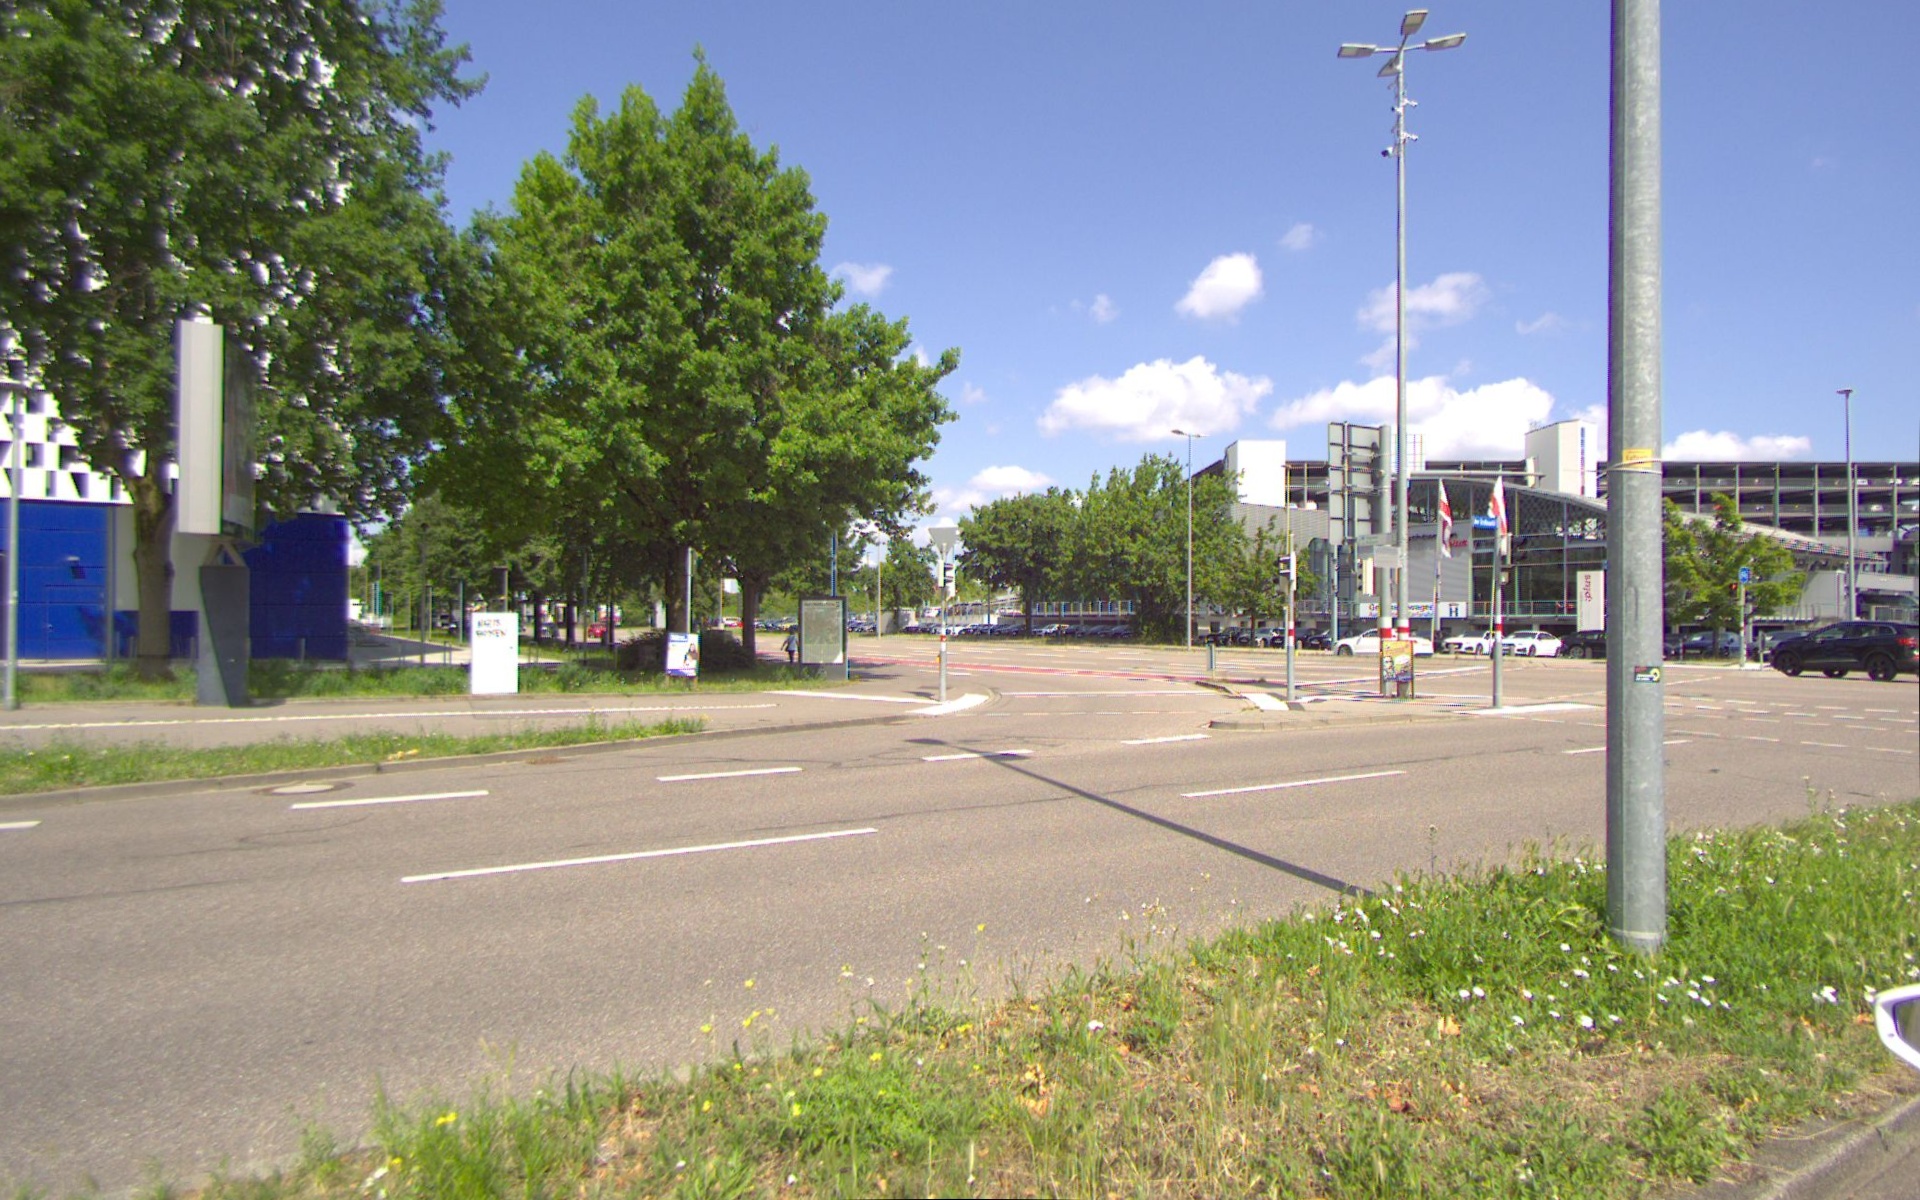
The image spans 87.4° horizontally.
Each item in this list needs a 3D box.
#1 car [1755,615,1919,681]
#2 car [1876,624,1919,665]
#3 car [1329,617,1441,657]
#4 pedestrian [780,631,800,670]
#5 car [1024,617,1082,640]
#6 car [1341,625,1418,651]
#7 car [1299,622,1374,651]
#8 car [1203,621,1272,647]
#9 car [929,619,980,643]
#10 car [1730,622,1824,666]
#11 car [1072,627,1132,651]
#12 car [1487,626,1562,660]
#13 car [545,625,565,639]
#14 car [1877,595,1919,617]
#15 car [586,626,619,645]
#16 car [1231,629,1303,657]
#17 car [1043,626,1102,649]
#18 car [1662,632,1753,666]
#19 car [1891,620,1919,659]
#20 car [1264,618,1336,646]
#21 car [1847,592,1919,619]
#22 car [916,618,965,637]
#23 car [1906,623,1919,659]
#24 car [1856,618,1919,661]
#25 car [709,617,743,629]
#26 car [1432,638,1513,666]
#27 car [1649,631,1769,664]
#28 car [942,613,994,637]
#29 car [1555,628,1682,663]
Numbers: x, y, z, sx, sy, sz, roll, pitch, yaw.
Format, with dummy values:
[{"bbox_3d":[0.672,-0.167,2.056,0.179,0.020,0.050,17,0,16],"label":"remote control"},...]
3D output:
[{"bbox_3d":[25.108,1.308,28.171,1.747,1.639,4.257,2,0,-13],"label":"car"},{"bbox_3d":[42.270,1.967,42.734,1.887,1.700,4.548,2,0,-33],"label":"car"},{"bbox_3d":[17.768,1.528,42.138,1.843,1.461,3.958,2,0,-36],"label":"car"},{"bbox_3d":[-6.837,2.021,40.426,0.499,1.576,0.753,1,-1,-34],"label":"pedestrian"},{"bbox_3d":[7.666,2.351,82.534,4.544,1.700,1.888,2,0,-35],"label":"car"},{"bbox_3d":[23.947,2.172,57.292,4.544,1.314,1.888,2,0,-35],"label":"car"},{"bbox_3d":[22.430,2.189,59.742,4.546,1.314,1.888,6,-3,-35],"label":"car"},{"bbox_3d":[18.140,2.211,65.596,4.545,1.423,1.888,4,-1,-35],"label":"car"},{"bbox_3d":[-0.523,2.935,95.418,4.544,2.076,1.888,2,0,-35],"label":"car"},{"bbox_3d":[34.409,1.868,42.264,4.544,1.700,1.888,2,0,-35],"label":"car"},{"bbox_3d":[11.015,3.051,77.657,4.544,1.700,1.888,2,0,-35],"label":"car"},{"bbox_3d":[28.424,2.167,50.560,3.961,1.483,1.778,5,-4,-35],"label":"car"},{"bbox_3d":[-46.753,3.693,115.965,1.872,1.575,4.557,1,-1,-26],"label":"car"},{"bbox_3d":[71.151,0.469,74.890,1.752,1.572,3.951,2,0,-41],"label":"car"},{"bbox_3d":[-34.767,3.421,97.525,1.831,1.622,4.518,2,-1,-36],"label":"car"},{"bbox_3d":[19.478,2.710,63.664,4.546,1.423,1.888,6,-2,-35],"label":"car"},{"bbox_3d":[9.014,2.983,80.106,4.544,1.700,1.888,2,0,-35],"label":"car"},{"bbox_3d":[32.788,2.147,44.031,4.544,1.314,1.888,2,0,-35],"label":"car"},{"bbox_3d":[44.722,1.837,44.644,1.887,1.700,4.548,2,0,-33],"label":"car"},{"bbox_3d":[20.915,1.981,61.729,4.545,1.402,1.888,4,-2,-35],"label":"car"},{"bbox_3d":[66.850,0.393,72.166,1.748,1.825,4.411,2,0,-35],"label":"car"},{"bbox_3d":[-1.884,2.664,97.727,4.544,1.700,1.888,2,0,-35],"label":"car"},{"bbox_3d":[46.873,1.984,46.194,1.887,1.700,4.548,2,0,-33],"label":"car"},{"bbox_3d":[40.053,1.688,41.236,1.887,1.700,4.548,2,0,-33],"label":"car"},{"bbox_3d":[-32.977,3.298,141.667,4.328,1.533,1.916,2,0,-36],"label":"car"},{"bbox_3d":[26.993,2.741,52.867,4.544,1.314,1.888,2,0,-35],"label":"car"},{"bbox_3d":[39.157,2.482,52.626,1.966,1.530,4.710,5,-4,-35],"label":"car"},{"bbox_3d":[0.751,2.302,92.775,4.544,2.076,1.888,2,0,-35],"label":"car"},{"bbox_3d":[31.166,2.144,47.668,1.779,1.483,4.710,5,-4,-35],"label":"car"}]
